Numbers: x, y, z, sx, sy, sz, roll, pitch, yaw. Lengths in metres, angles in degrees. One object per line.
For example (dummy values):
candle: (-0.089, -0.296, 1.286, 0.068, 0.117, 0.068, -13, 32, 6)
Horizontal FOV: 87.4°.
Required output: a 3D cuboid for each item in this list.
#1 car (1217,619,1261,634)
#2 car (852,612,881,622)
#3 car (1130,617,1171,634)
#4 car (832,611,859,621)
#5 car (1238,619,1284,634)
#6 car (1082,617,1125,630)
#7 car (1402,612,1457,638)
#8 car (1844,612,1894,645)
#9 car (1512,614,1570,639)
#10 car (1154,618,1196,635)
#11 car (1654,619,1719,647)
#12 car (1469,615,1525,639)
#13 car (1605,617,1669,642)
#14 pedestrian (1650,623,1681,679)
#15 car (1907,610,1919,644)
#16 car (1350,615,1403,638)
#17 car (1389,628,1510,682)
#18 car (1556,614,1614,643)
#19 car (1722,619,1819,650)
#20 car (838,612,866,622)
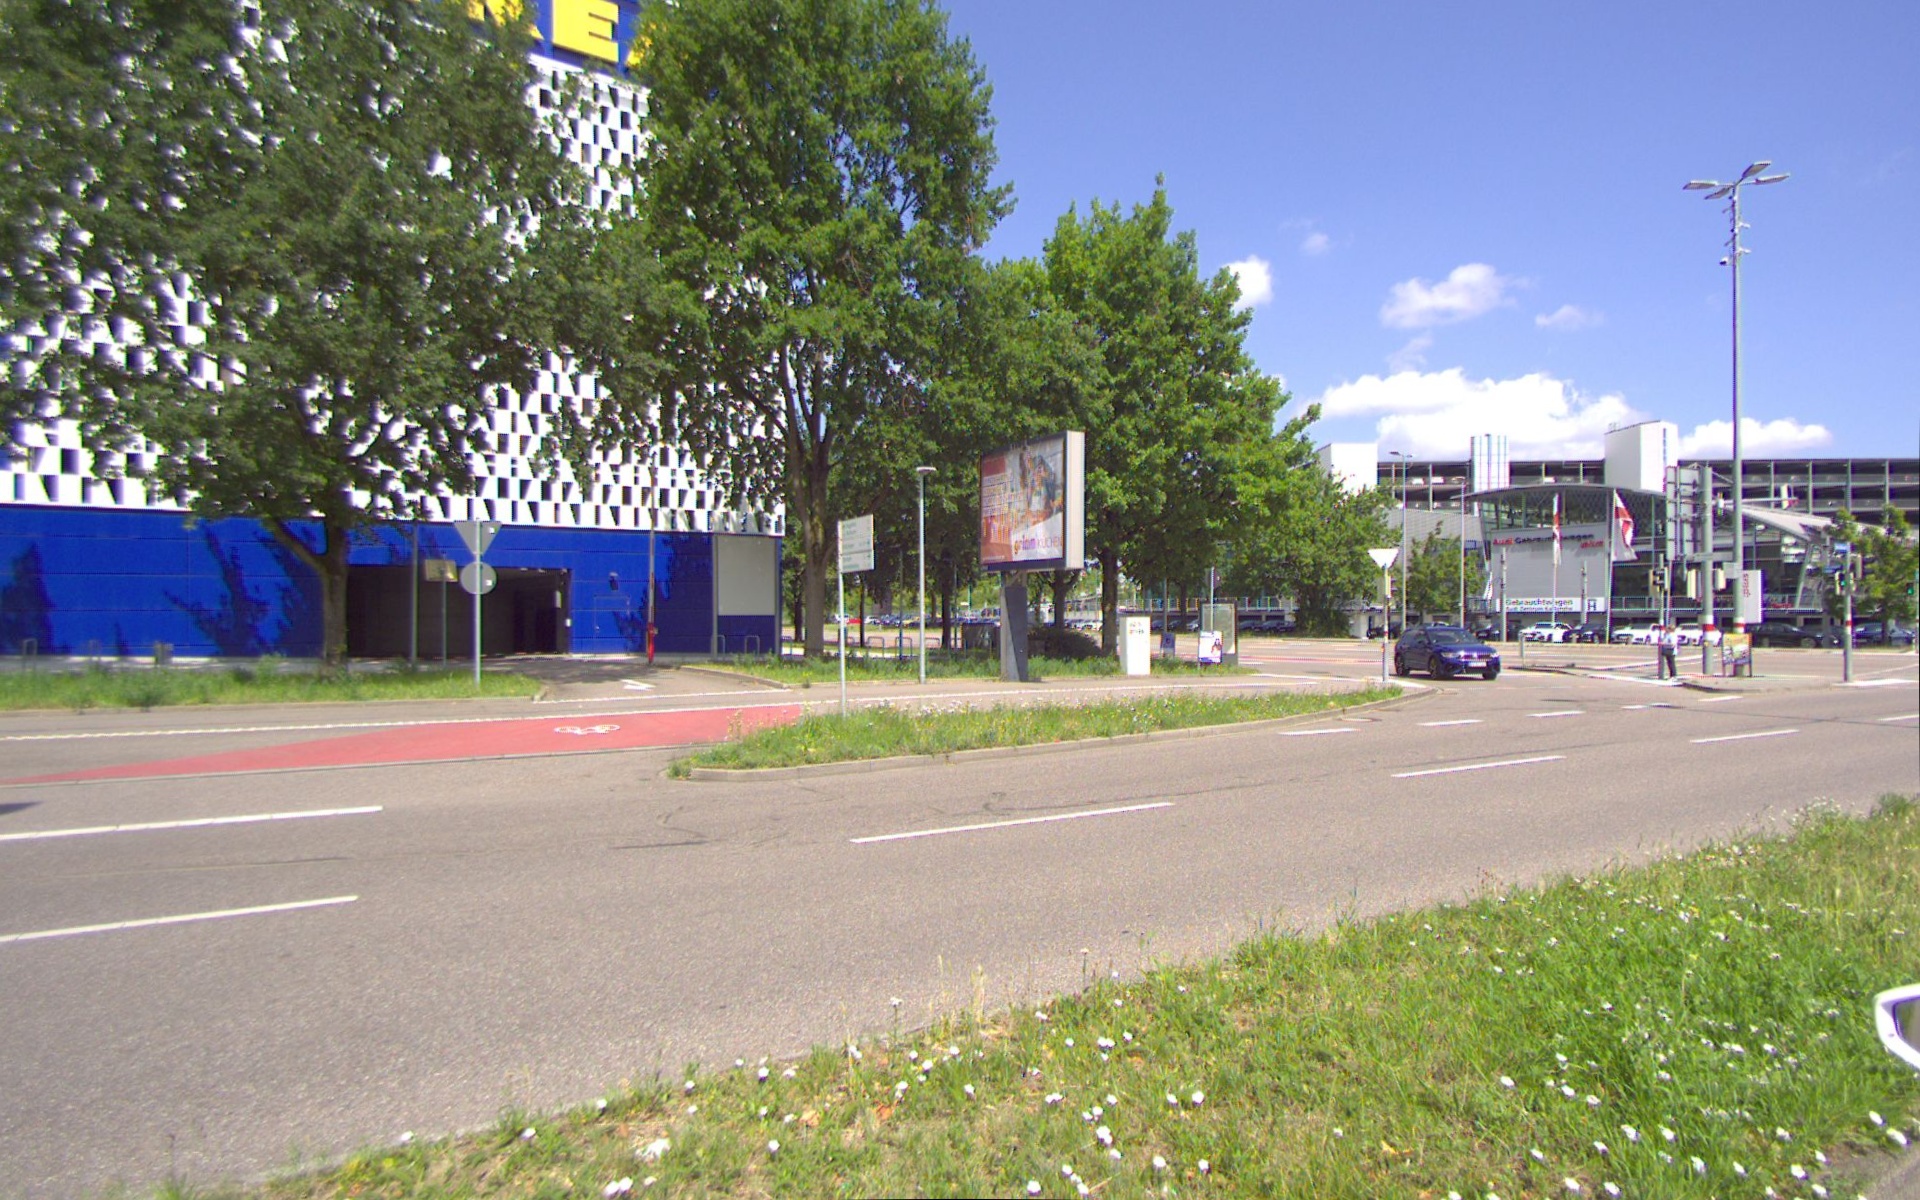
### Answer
car: (23.402, 2.179, 84.108, 3.462, 1.207, 1.583, 1, 0, -30)
car: (-13.006, 2.388, 139.817, 3.687, 1.409, 1.689, 1, 0, -30)
car: (17.088, 2.280, 90.090, 3.462, 1.409, 1.583, 1, 0, -30)
car: (-16.793, 2.311, 147.263, 3.687, 1.409, 1.689, 1, 0, -30)
car: (24.362, 2.142, 81.288, 3.462, 1.207, 1.583, 1, 0, -30)
car: (14.367, 2.333, 100.492, 3.952, 1.271, 1.789, 0, 0, -30)
car: (32.473, 1.712, 69.452, 3.753, 1.686, 1.804, 1, 0, -34)
car: (45.952, 1.401, 50.779, 1.797, 1.573, 3.977, 1, 0, 43)
car: (37.120, 1.696, 64.127, 3.663, 1.506, 1.867, 0, 0, -35)
car: (18.741, 2.318, 87.524, 3.462, 1.409, 1.583, 1, 0, -30)
car: (41.460, 1.840, 57.325, 3.987, 1.469, 1.765, 0, 0, -34)
car: (35.528, 1.766, 66.435, 3.662, 1.506, 1.717, 0, 0, -34)
car: (40.125, 1.705, 59.507, 3.713, 1.394, 1.896, 0, 0, -34)
pedestrian: (19.784, 1.419, 28.162, 0.502, 1.532, 0.470, 1, 0, -5)
car: (47.243, 1.315, 48.765, 1.797, 1.573, 3.977, 1, 0, 43)
car: (29.967, 1.881, 72.232, 3.664, 1.508, 1.825, 0, 0, -35)
car: (15.399, 1.696, 31.857, 1.960, 1.529, 4.001, -1, -2, 2)
car: (38.392, 1.728, 61.647, 3.579, 1.683, 1.746, 0, 0, -34)
car: (43.309, 1.822, 53.734, 1.662, 1.533, 3.768, 0, 0, -34)
car: (-15.556, 2.481, 144.912, 3.687, 1.409, 1.689, 1, 0, -30)
